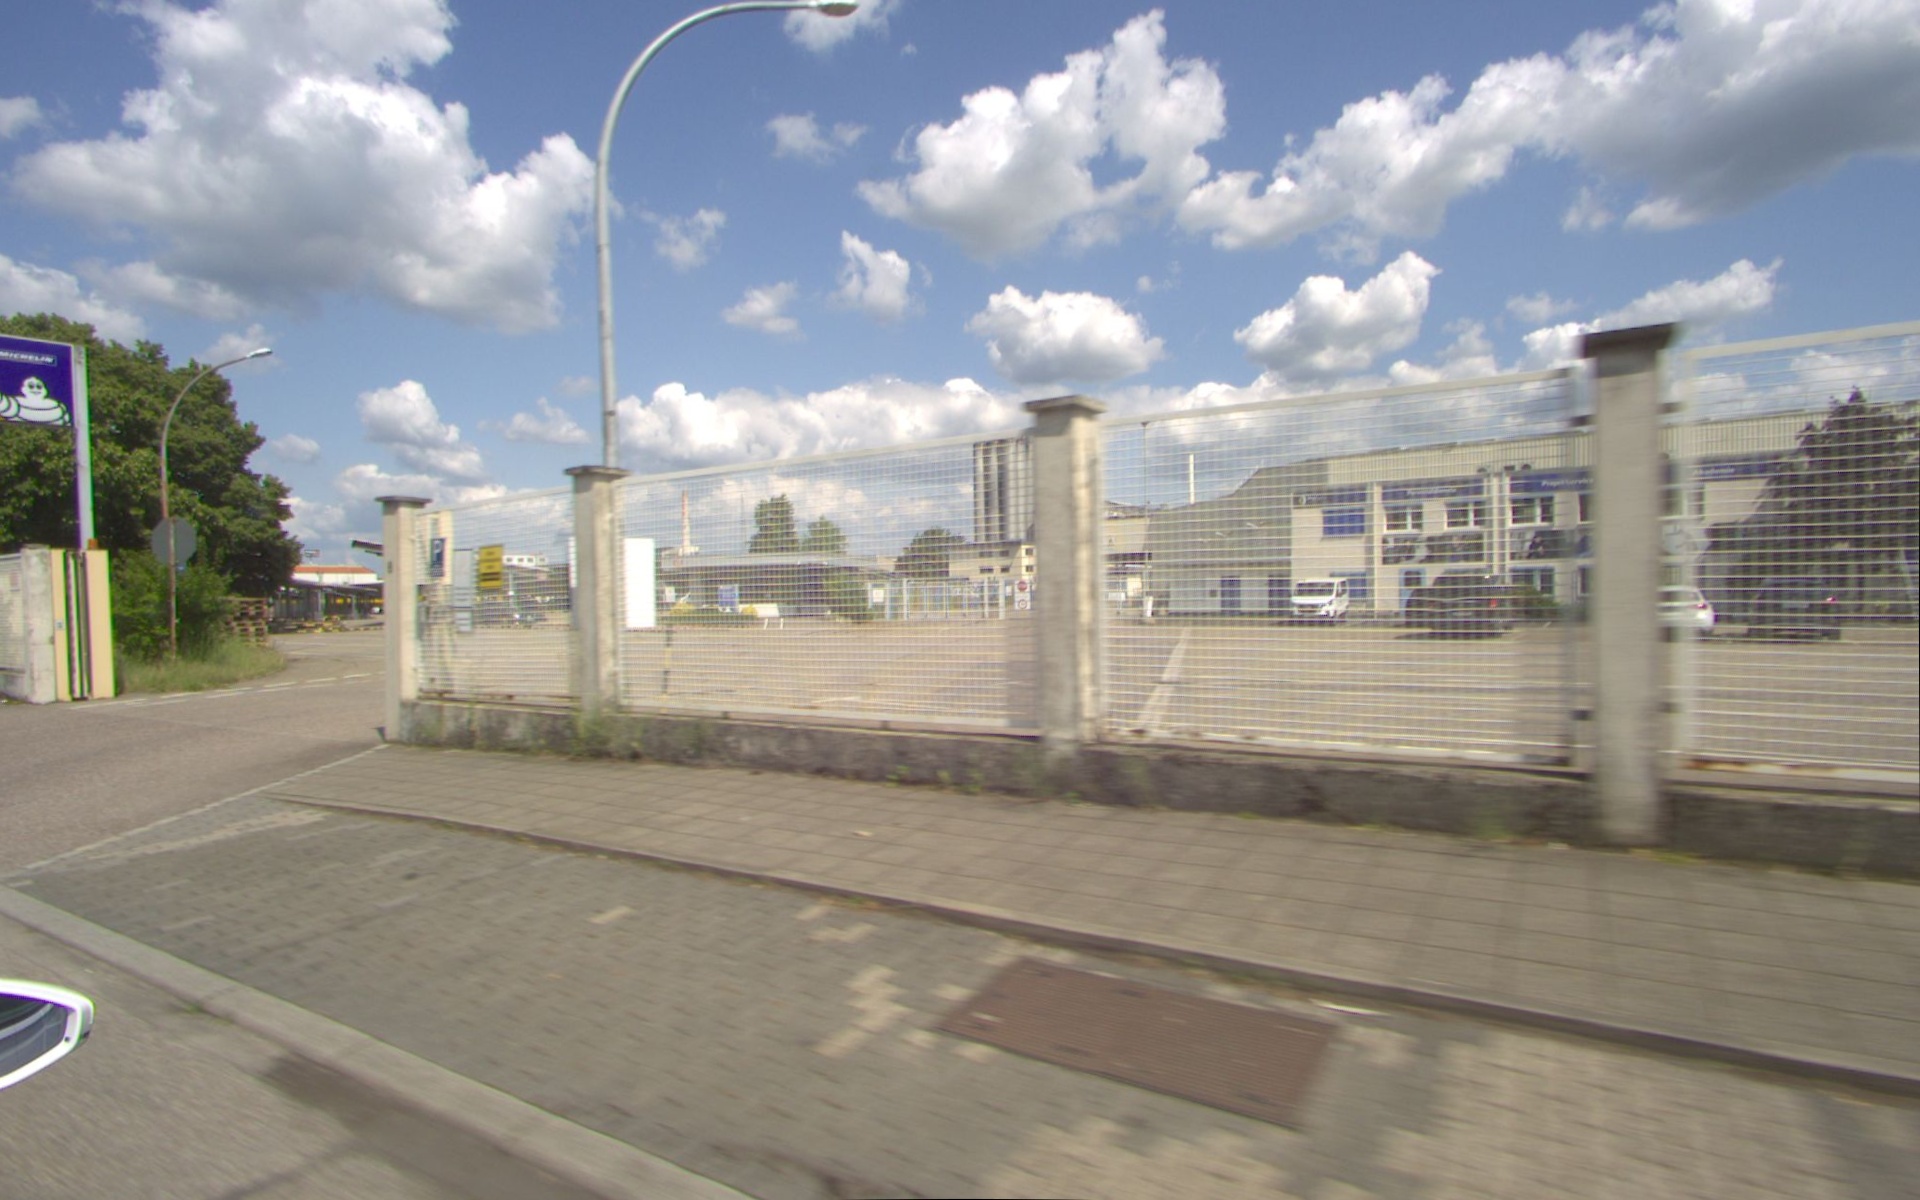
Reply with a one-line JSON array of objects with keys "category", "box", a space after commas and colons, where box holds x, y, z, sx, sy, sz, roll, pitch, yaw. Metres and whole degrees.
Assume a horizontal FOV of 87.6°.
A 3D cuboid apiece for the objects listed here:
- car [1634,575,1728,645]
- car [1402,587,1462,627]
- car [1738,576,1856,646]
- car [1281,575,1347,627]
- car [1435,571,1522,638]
[{"category": "car", "box": [19.631, 0.239, 27.404, 1.909, 1.662, 3.898, -1, 2, 34]}, {"category": "car", "box": [18.960, 0.313, 40.146, 1.818, 1.529, 3.981, -1, -1, 30]}, {"category": "car", "box": [21.536, 0.237, 25.929, 1.909, 1.662, 3.899, -1, 1, 34]}, {"category": "car", "box": [15.608, 0.006, 44.022, 1.907, 2.060, 4.380, -1, 2, 30]}, {"category": "car", "box": [15.855, 0.142, 30.498, 1.908, 1.878, 4.378, 0, 0, 34]}]
